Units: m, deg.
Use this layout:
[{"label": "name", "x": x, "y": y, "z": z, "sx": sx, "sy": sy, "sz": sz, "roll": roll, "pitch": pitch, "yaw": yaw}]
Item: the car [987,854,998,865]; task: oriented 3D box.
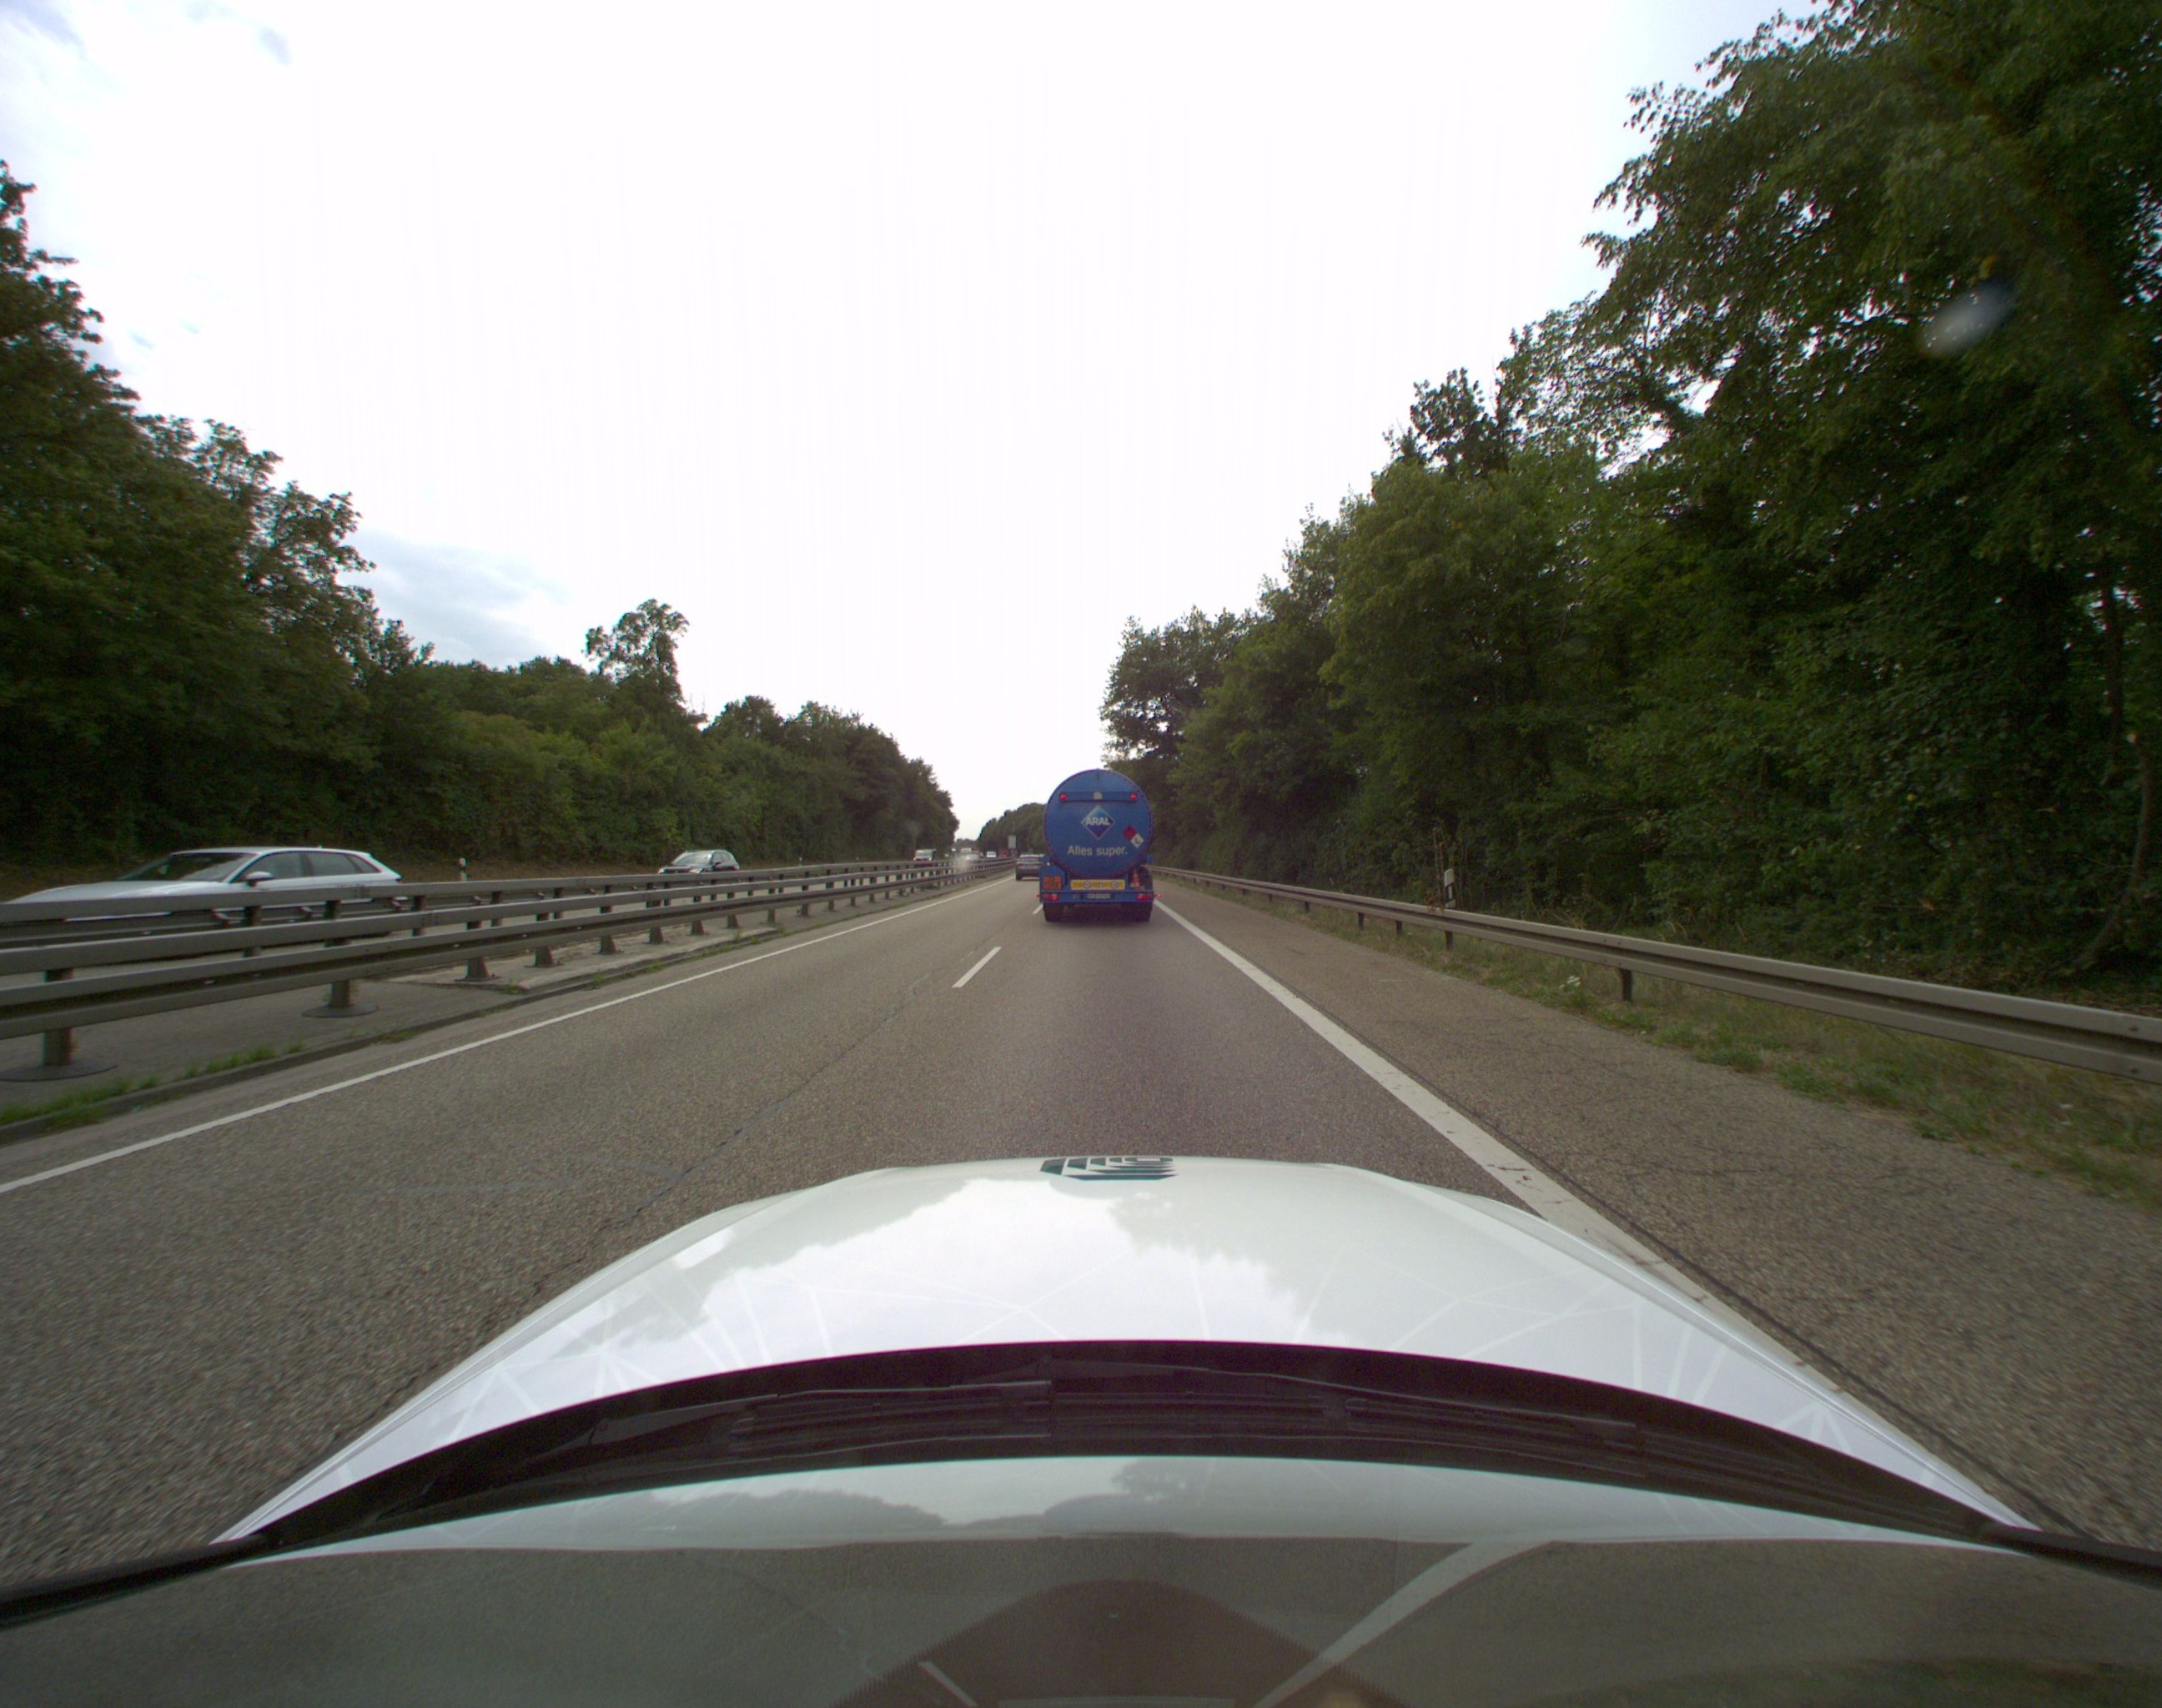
[{"label": "car", "x": -17.134, "y": 1.123, "z": 157.989, "sx": 1.817, "sy": 1.983, "sz": 5.053, "roll": -1, "pitch": -1, "yaw": -2}]

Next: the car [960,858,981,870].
[{"label": "car", "x": -12.590, "y": 1.166, "z": 92.924, "sx": 1.649, "sy": 1.278, "sz": 4.712, "roll": 0, "pitch": -1, "yaw": 0}]

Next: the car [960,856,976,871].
[{"label": "car", "x": -20.590, "y": 1.746, "z": 148.958, "sx": 2.306, "sy": 2.611, "sz": 5.548, "roll": -1, "pitch": -1, "yaw": -2}]

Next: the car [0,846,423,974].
[{"label": "car", "x": -11.617, "y": 0.665, "z": 11.244, "sx": 1.706, "sy": 1.427, "sz": 4.057, "roll": -1, "pitch": -1, "yaw": 1}]

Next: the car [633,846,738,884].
[{"label": "car", "x": -14.749, "y": 0.408, "z": 30.664, "sx": 1.972, "sy": 1.300, "sz": 4.067, "roll": -1, "pitch": -1, "yaw": -1}]

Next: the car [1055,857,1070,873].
[{"label": "car", "x": -2.720, "y": 1.569, "z": 119.937, "sx": 1.987, "sy": 2.244, "sz": 3.999, "roll": -1, "pitch": -1, "yaw": 0}]

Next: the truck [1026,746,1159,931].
[{"label": "truck", "x": 0.377, "y": -0.303, "z": 21.008, "sx": 2.745, "sy": 3.846, "sz": 7.691, "roll": -1, "pitch": 0, "yaw": 2}]

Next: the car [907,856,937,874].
[{"label": "car", "x": -16.184, "y": 1.113, "z": 83.368, "sx": 2.028, "sy": 1.804, "sz": 5.122, "roll": -1, "pitch": -1, "yaw": 0}]

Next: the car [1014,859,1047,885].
[{"label": "car", "x": -3.158, "y": 1.124, "z": 52.046, "sx": 1.820, "sy": 1.609, "sz": 4.166, "roll": -1, "pitch": -1, "yaw": 0}]

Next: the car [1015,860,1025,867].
[{"label": "car", "x": -13.811, "y": 2.131, "z": 183.084, "sx": 1.993, "sy": 1.552, "sz": 3.988, "roll": -1, "pitch": -1, "yaw": -8}]
